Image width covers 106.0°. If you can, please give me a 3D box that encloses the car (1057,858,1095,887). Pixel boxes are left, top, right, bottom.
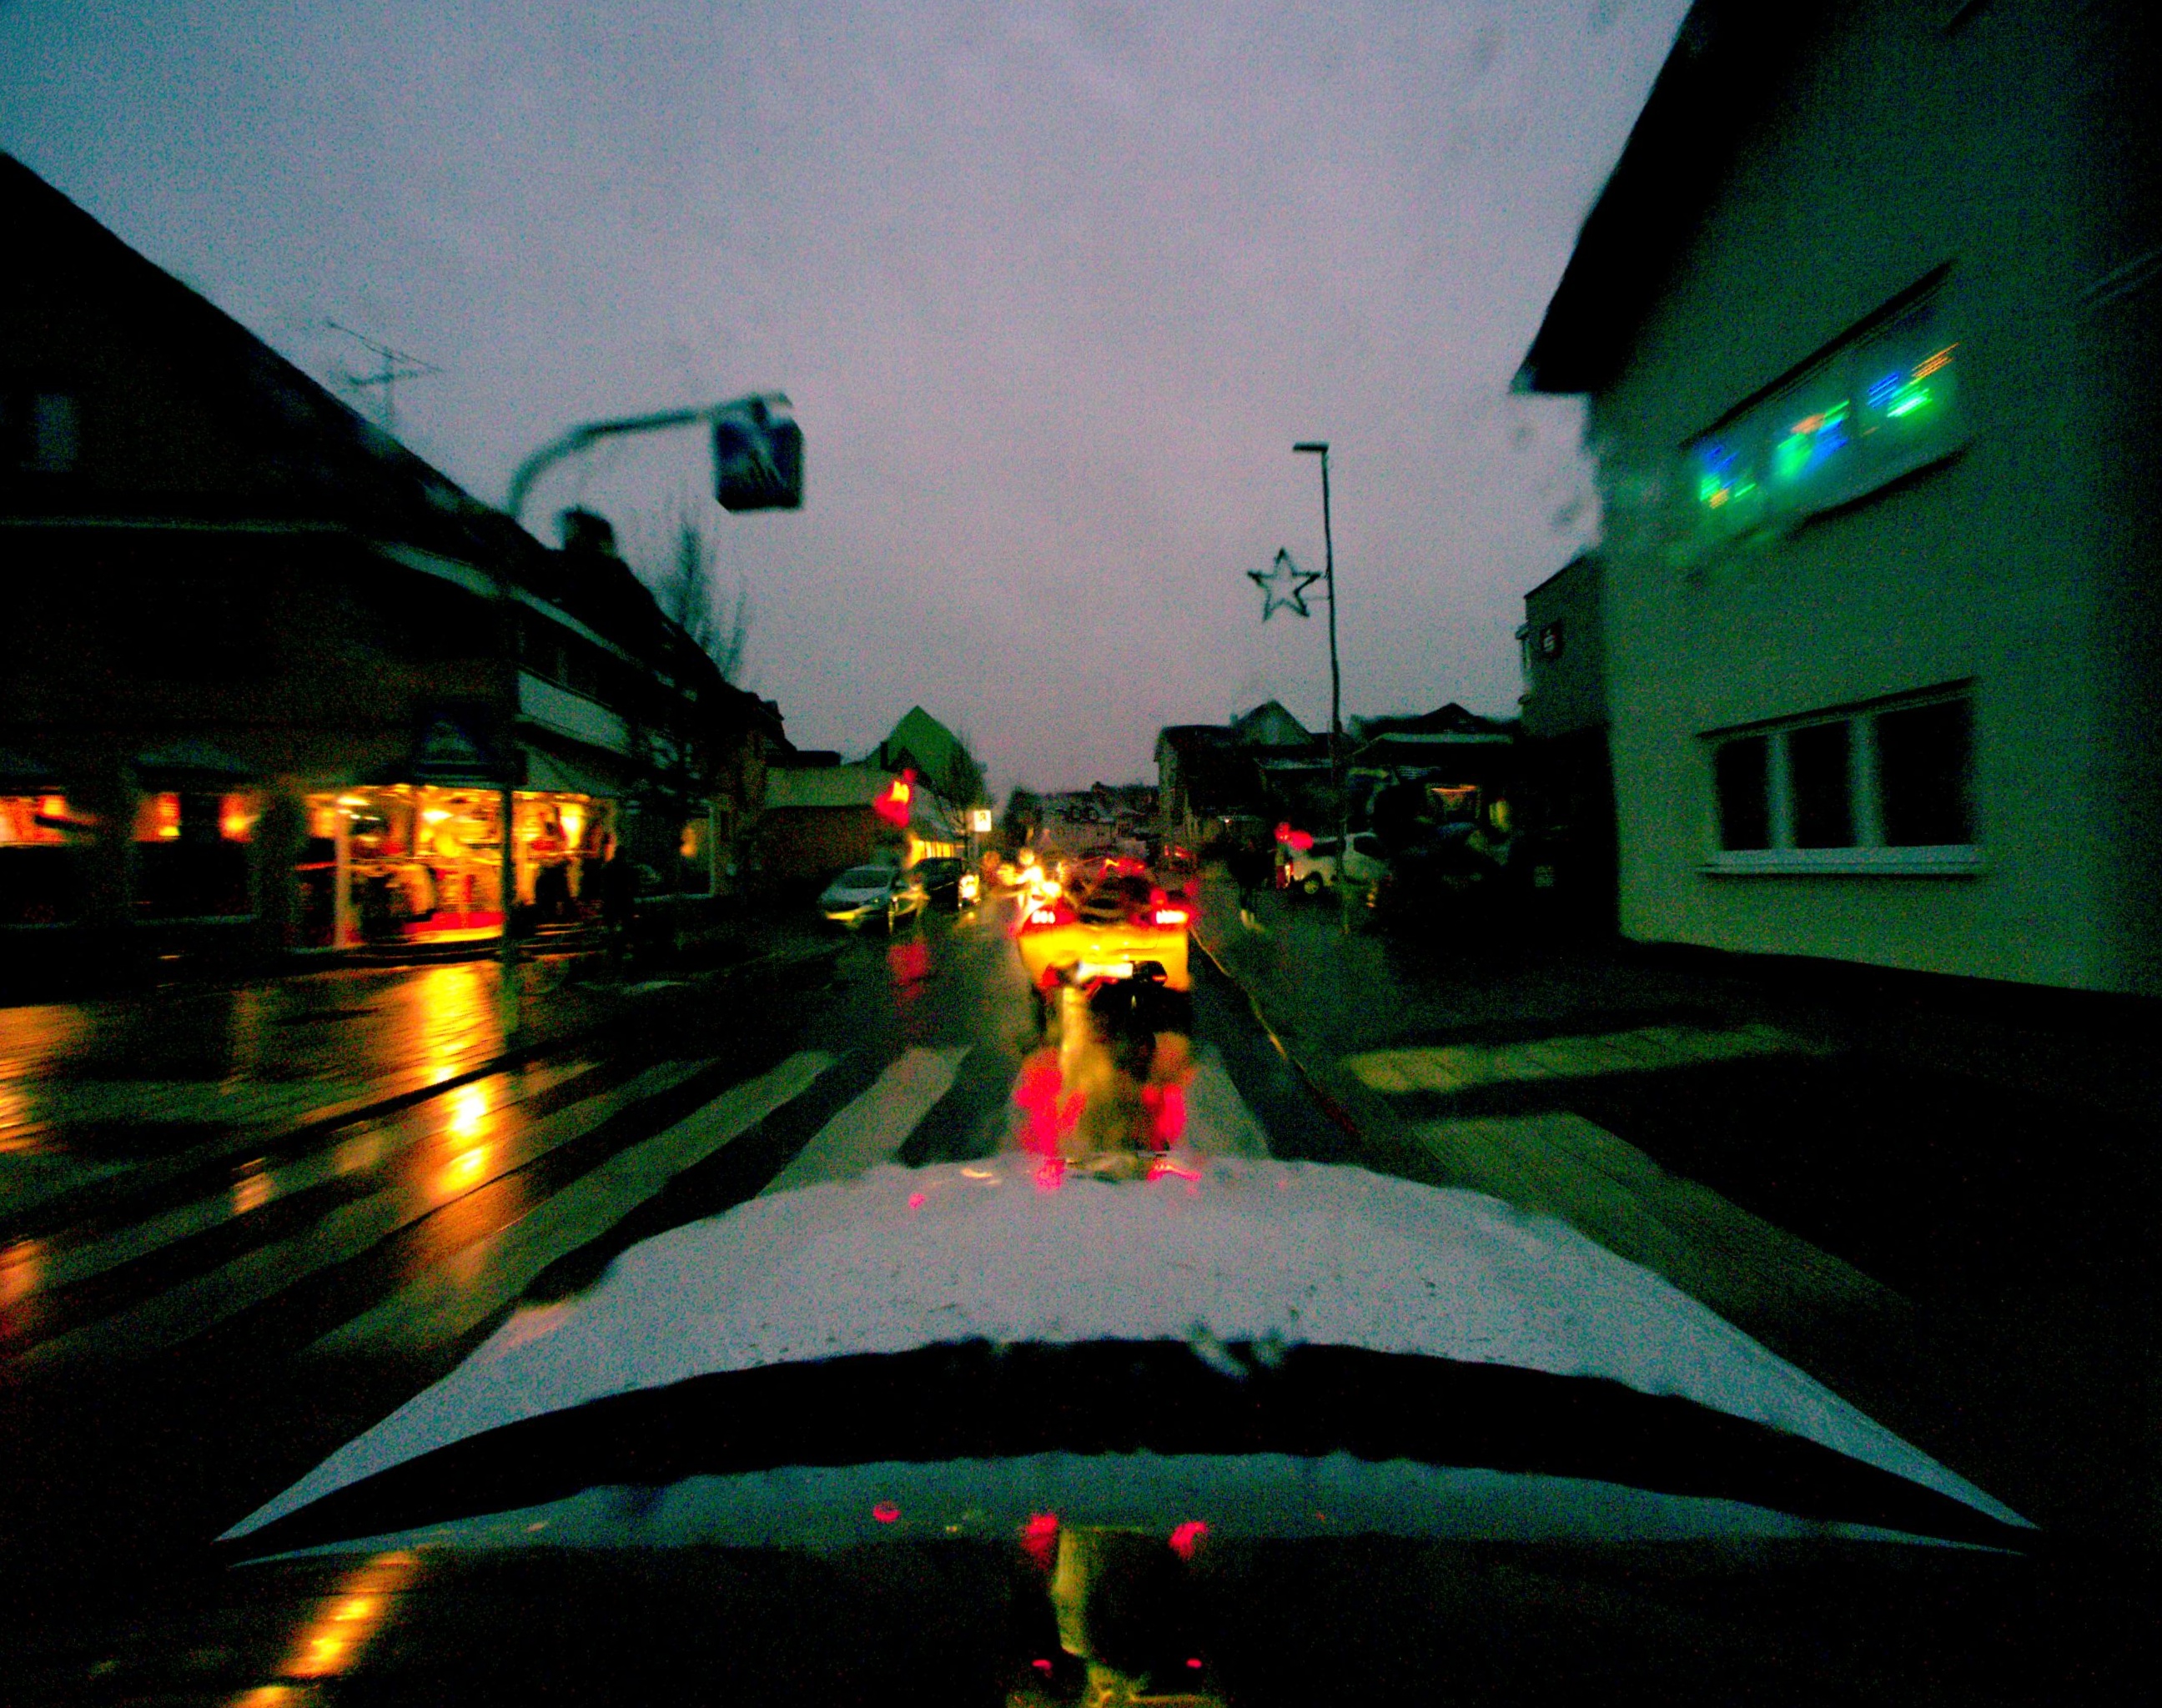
[{"bbox_3d":[-0.381,1.194,54.083,1.950,1.546,4.406,-3,3,-7],"label":"car"}]

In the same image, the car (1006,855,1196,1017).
[{"bbox_3d":[0.245,0.798,9.767,1.808,1.533,4.001,0,0,1],"label":"car"}]

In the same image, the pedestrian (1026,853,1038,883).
[{"bbox_3d":[-2.680,0.756,44.405,0.573,1.585,0.529,-2,1,-2],"label":"pedestrian"}]

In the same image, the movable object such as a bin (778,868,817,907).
[{"bbox_3d":[-10.252,1.195,29.502,1.149,1.354,0.849,-1,0,-8],"label":"movable object such as a bin"}]

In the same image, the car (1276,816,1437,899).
[{"bbox_3d":[7.822,0.105,23.525,4.065,2.049,2.006,-4,-1,10],"label":"car"}]

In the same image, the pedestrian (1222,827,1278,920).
[{"bbox_3d":[3.553,0.398,17.193,0.963,1.889,1.005,0,-1,-1],"label":"pedestrian"}]

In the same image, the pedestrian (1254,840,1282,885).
[{"bbox_3d":[7.195,0.329,31.360,0.703,1.705,0.913,-3,-1,-7],"label":"pedestrian"}]

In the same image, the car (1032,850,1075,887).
[{"bbox_3d":[-1.360,0.715,42.528,1.987,1.705,4.967,1,1,0],"label":"car"}]

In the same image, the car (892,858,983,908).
[{"bbox_3d":[-4.736,0.910,27.636,1.985,1.522,4.981,-1,0,2],"label":"car"}]

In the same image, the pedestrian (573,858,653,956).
[{"bbox_3d":[-8.183,0.892,14.292,0.825,1.658,1.095,0,-1,-5],"label":"pedestrian"}]

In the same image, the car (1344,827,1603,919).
[{"bbox_3d":[7.273,0.368,15.470,3.968,1.486,1.915,-2,-1,5],"label":"car"}]

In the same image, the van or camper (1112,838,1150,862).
[{"bbox_3d":[6.909,-0.537,113.406,2.661,3.047,6.687,-5,1,-20],"label":"van or camper"}]

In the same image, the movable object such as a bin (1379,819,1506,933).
[{"bbox_3d":[5.722,0.333,13.001,1.388,1.644,1.261,-4,0,-1],"label":"movable object such as a bin"}]

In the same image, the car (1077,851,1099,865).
[{"bbox_3d":[0.946,0.605,112.407,1.997,1.765,4.329,-3,0,-14],"label":"car"}]

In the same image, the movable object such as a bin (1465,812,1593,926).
[{"bbox_3d":[7.077,0.223,12.938,1.281,1.644,1.185,-4,0,-1],"label":"movable object such as a bin"}]

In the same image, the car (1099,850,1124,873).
[{"bbox_3d":[2.515,0.608,68.291,1.987,1.857,3.999,0,0,0],"label":"car"}]

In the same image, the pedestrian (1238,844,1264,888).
[{"bbox_3d":[6.745,0.477,32.403,0.838,1.705,0.840,-3,-1,4],"label":"pedestrian"}]

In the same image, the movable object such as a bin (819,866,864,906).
[{"bbox_3d":[-8.720,1.160,29.666,1.339,1.354,0.887,-4,-1,-8],"label":"movable object such as a bin"}]

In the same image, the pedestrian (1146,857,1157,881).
[{"bbox_3d":[5.295,1.106,61.371,0.743,1.729,0.872,-2,1,-1],"label":"pedestrian"}]

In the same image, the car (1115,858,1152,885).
[{"bbox_3d":[3.142,1.044,49.542,1.987,1.588,3.998,0,0,-1],"label":"car"}]

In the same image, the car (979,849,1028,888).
[{"bbox_3d":[-3.814,0.682,40.809,2.080,1.792,5.020,-1,0,-2],"label":"car"}]

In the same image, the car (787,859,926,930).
[{"bbox_3d":[-5.376,0.904,20.207,1.985,1.558,4.624,0,0,3],"label":"car"}]
